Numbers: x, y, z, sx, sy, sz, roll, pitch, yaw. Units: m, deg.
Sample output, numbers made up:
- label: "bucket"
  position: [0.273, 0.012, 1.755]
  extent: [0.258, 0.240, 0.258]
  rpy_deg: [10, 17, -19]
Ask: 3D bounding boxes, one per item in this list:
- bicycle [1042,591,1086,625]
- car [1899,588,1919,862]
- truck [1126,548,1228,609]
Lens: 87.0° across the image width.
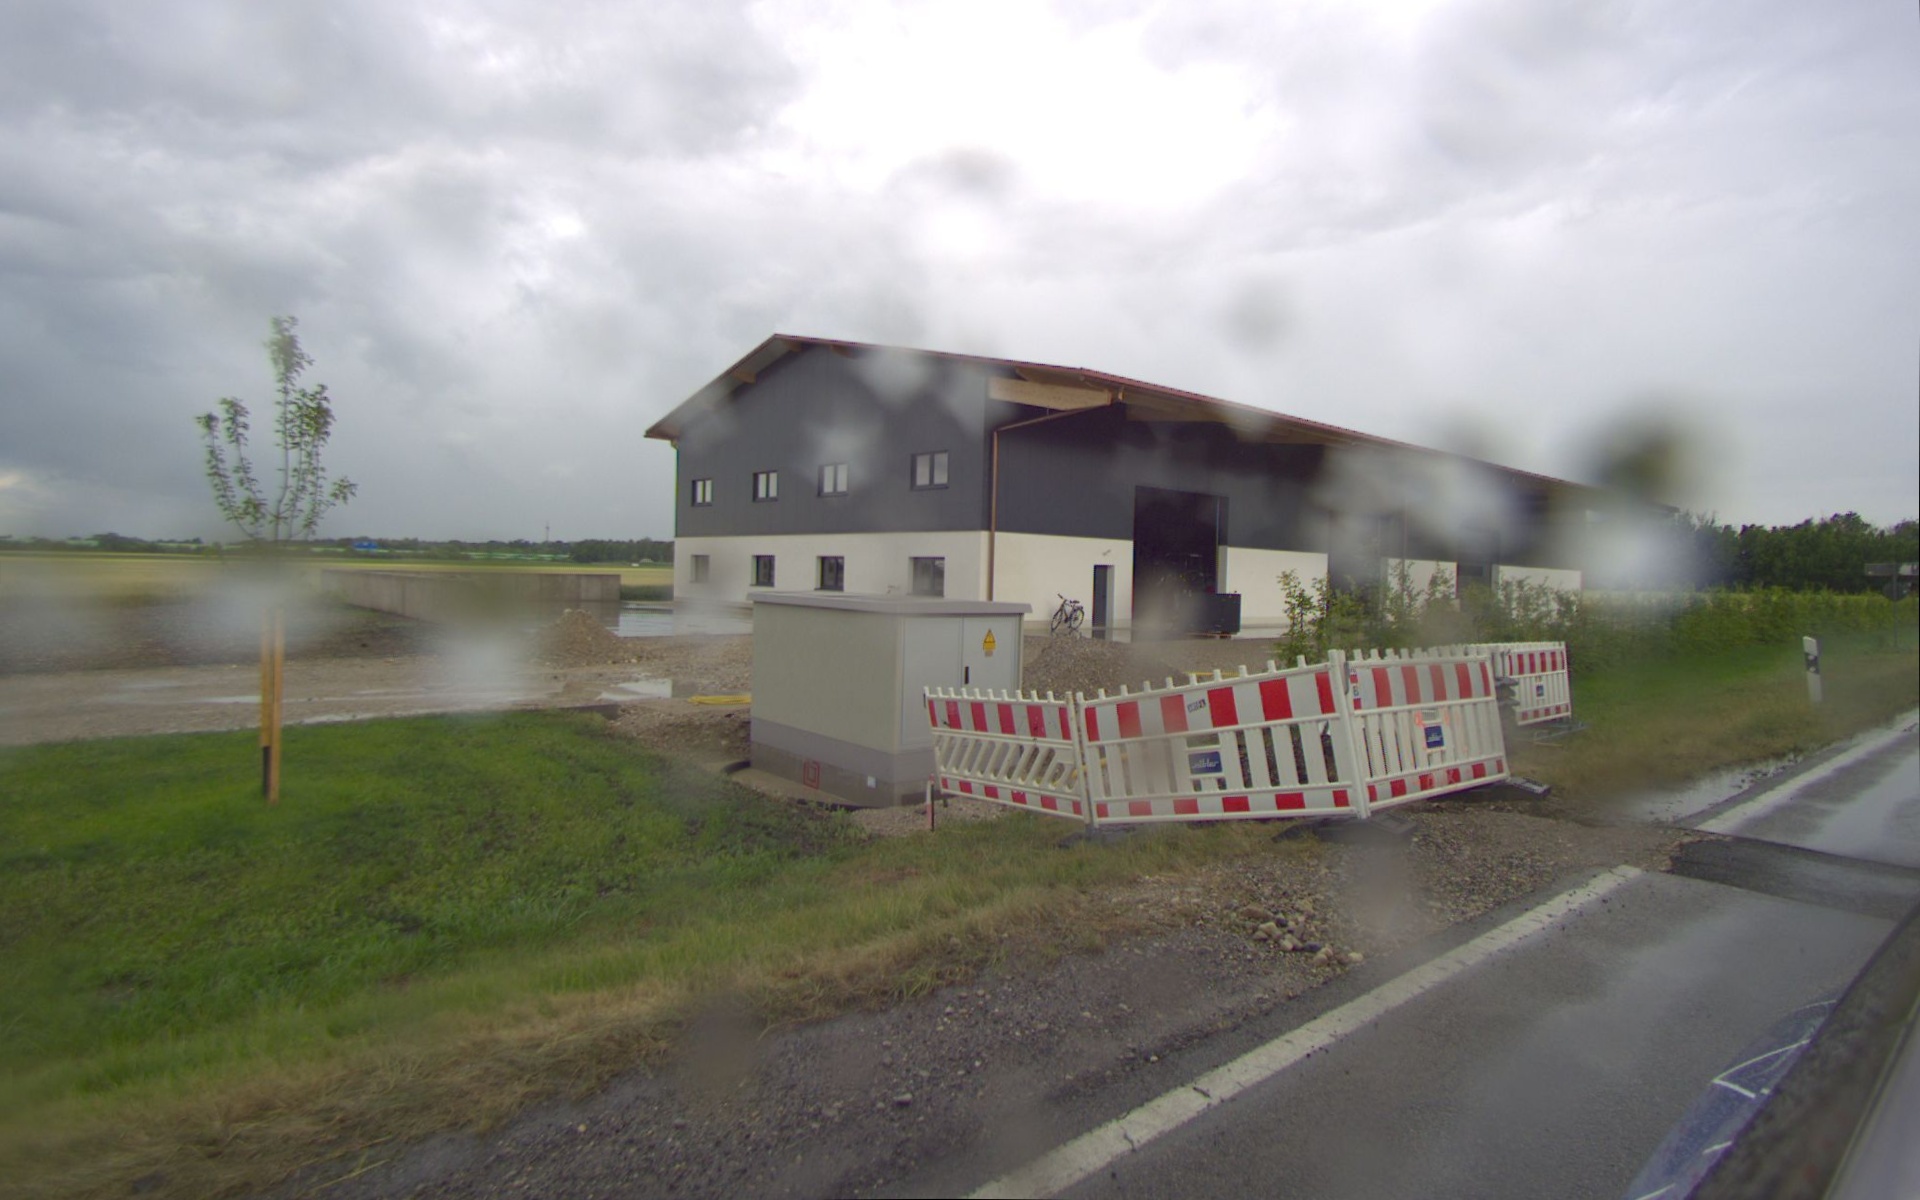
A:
- label: "bicycle"
  position: [3.408, 0.255, 33.171]
  extent: [1.631, 1.085, 0.391]
  rpy_deg: [0, 2, -41]
- label: "car"
  position: [7.157, 0.618, 6.010]
  extent: [4.489, 1.404, 1.841]
  rpy_deg: [-1, 0, -41]
- label: "truck"
  position: [11.335, -1.117, 52.719]
  extent: [5.250, 3.050, 2.495]
  rpy_deg: [0, 2, -41]
